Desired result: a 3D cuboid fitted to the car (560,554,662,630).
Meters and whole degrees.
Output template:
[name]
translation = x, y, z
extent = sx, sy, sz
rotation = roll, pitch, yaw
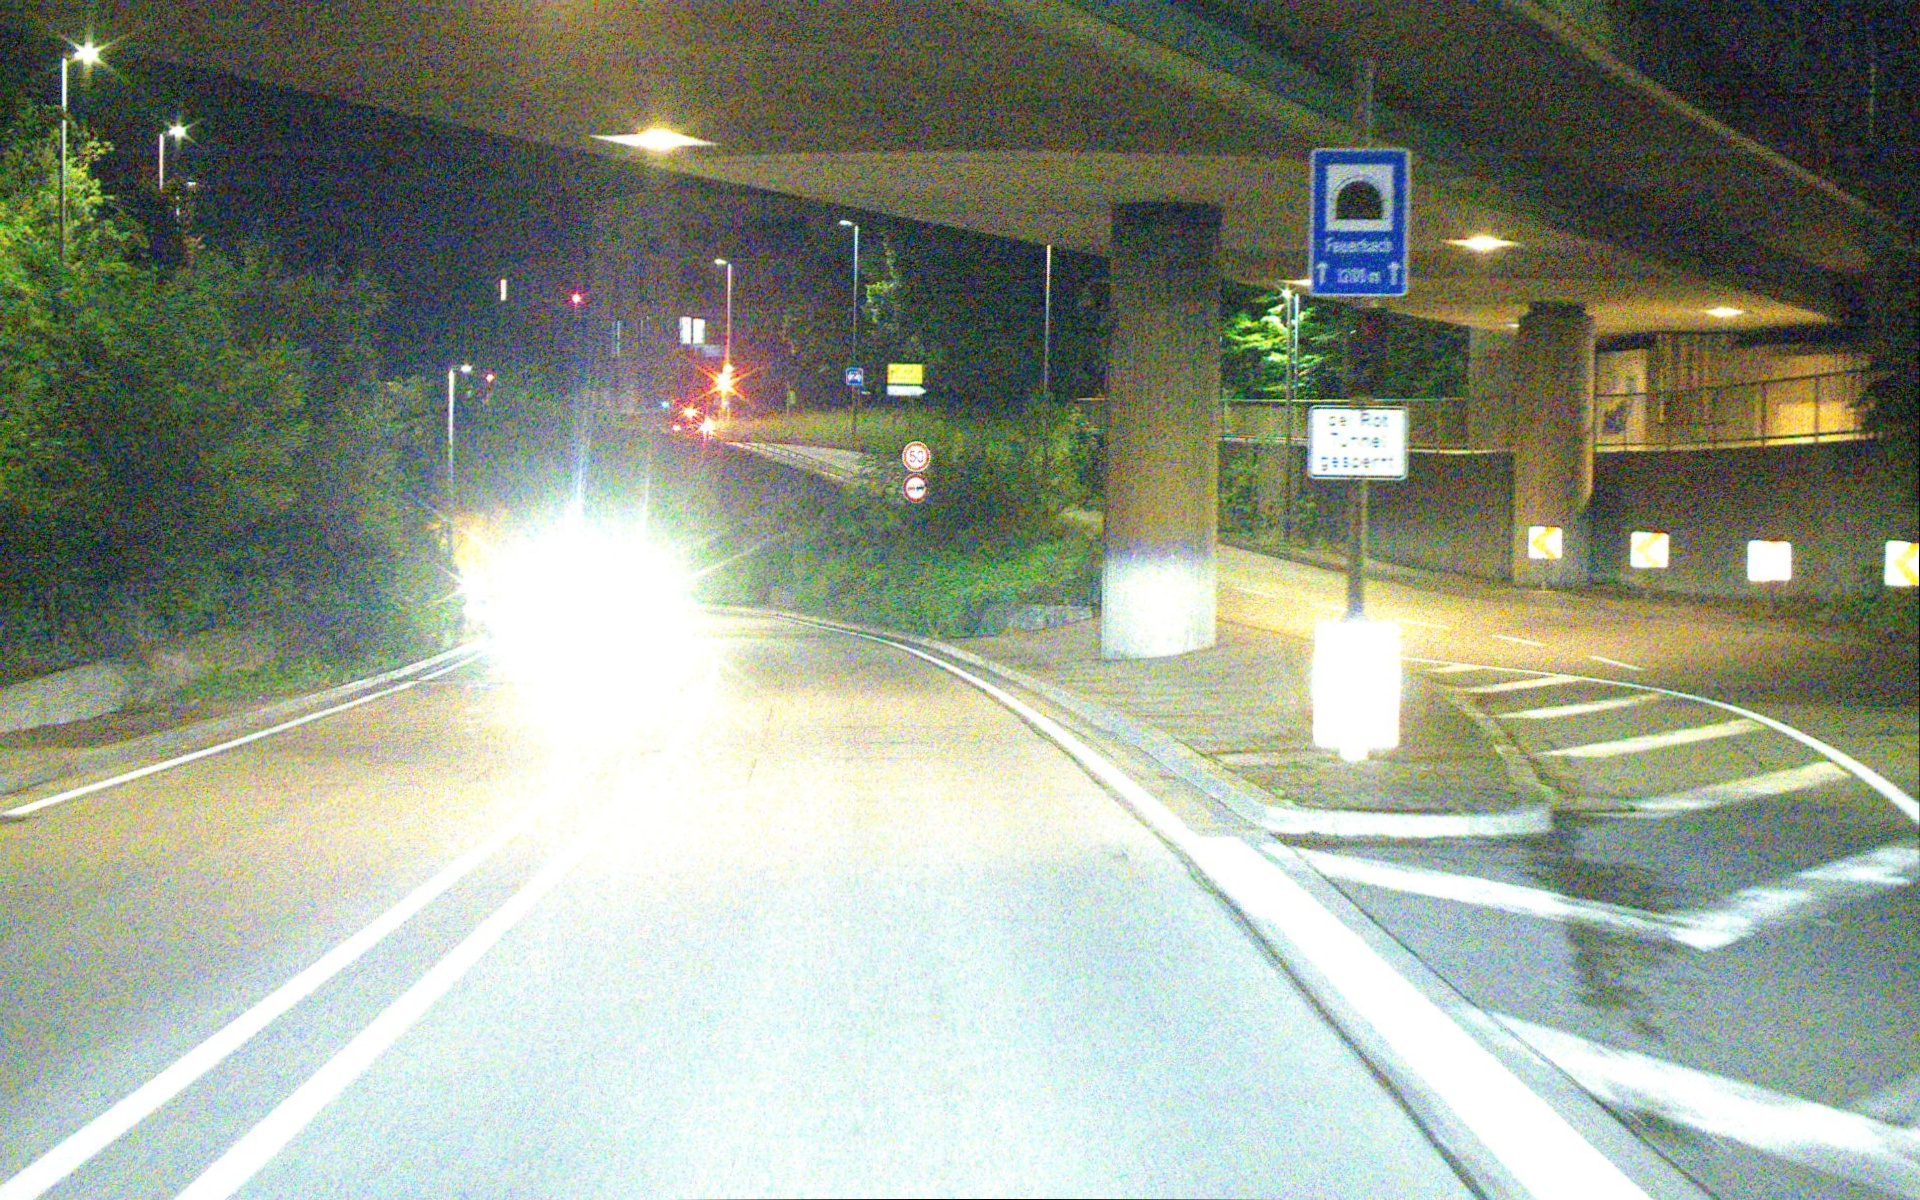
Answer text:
[car]
translation = -6.855, -0.142, 67.781
extent = 1.787, 1.442, 4.172
rotation = 1, 0, -3
